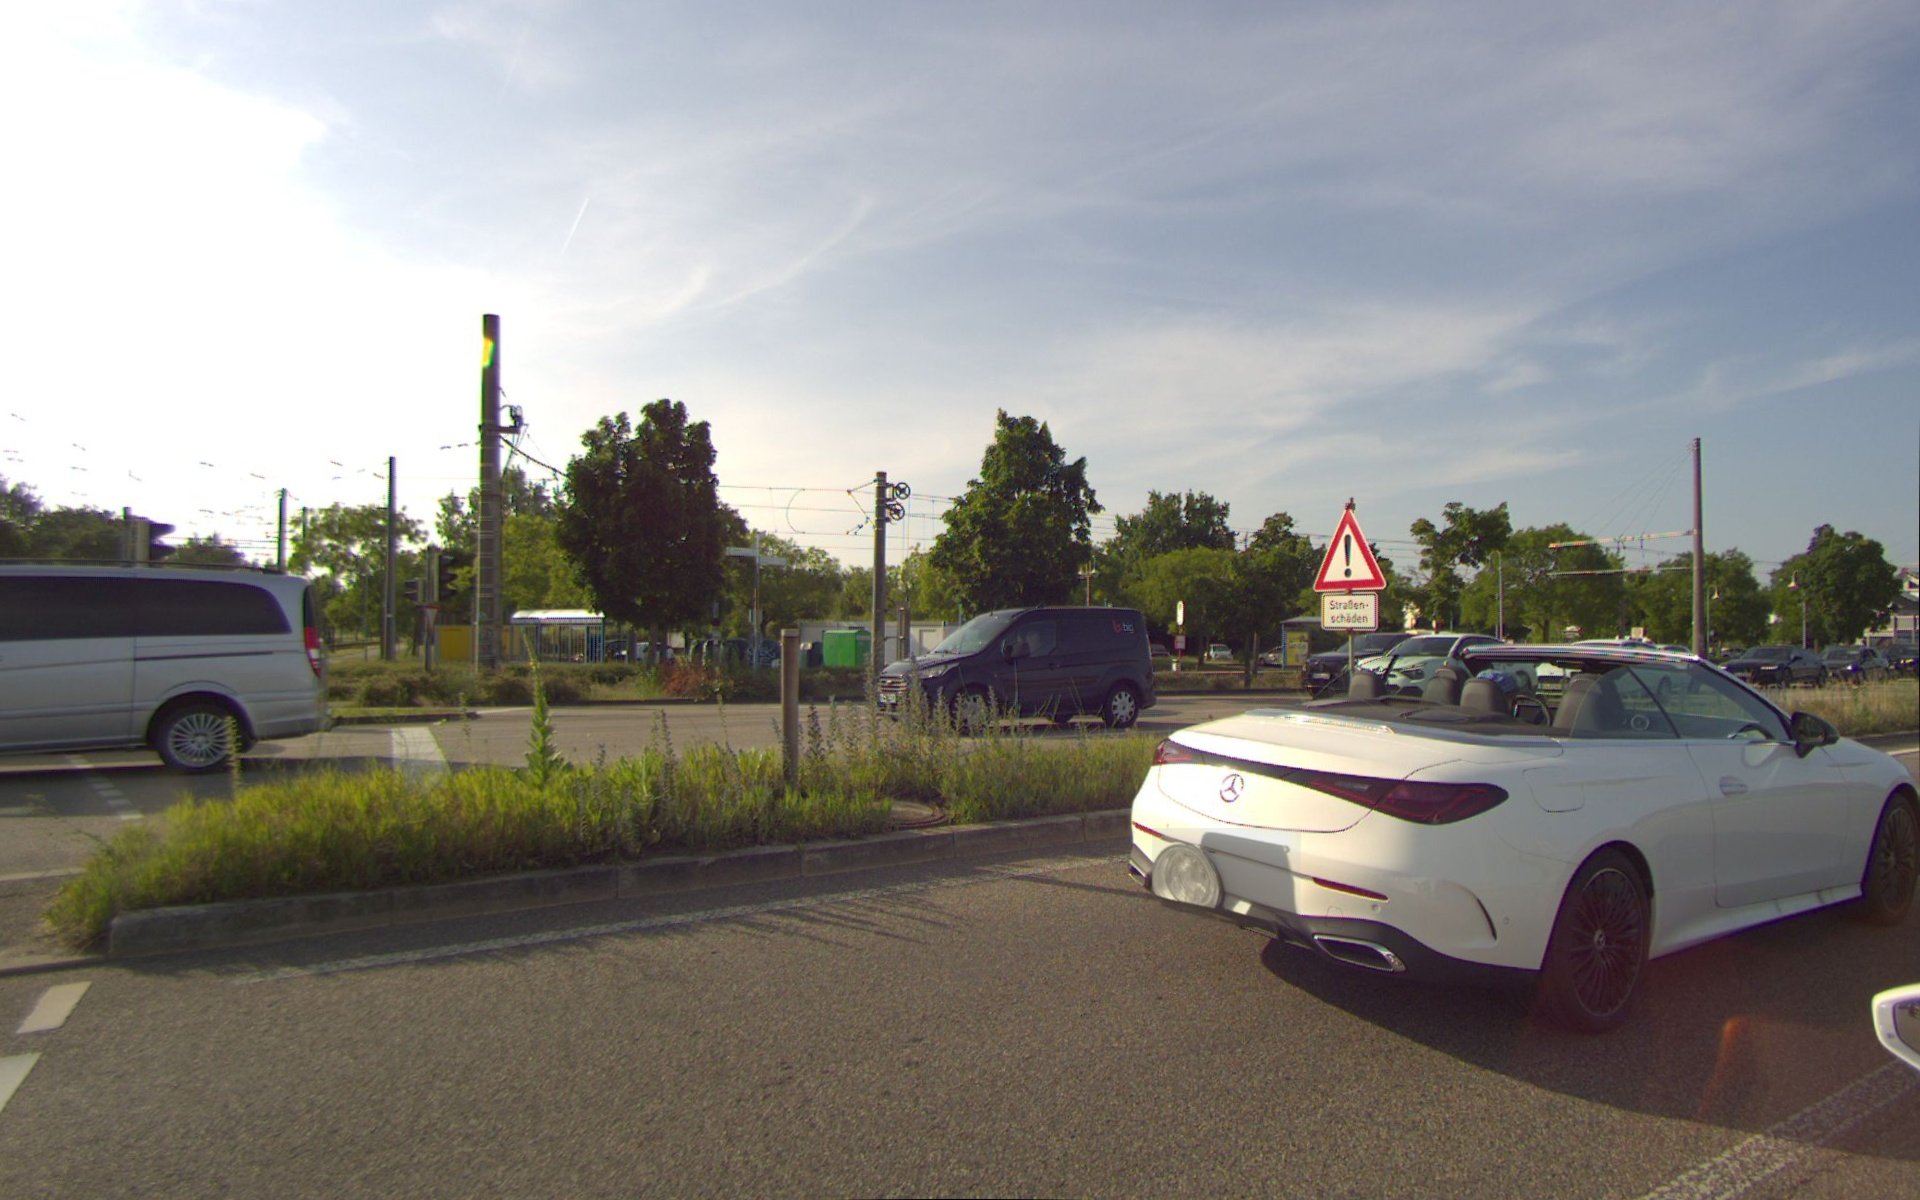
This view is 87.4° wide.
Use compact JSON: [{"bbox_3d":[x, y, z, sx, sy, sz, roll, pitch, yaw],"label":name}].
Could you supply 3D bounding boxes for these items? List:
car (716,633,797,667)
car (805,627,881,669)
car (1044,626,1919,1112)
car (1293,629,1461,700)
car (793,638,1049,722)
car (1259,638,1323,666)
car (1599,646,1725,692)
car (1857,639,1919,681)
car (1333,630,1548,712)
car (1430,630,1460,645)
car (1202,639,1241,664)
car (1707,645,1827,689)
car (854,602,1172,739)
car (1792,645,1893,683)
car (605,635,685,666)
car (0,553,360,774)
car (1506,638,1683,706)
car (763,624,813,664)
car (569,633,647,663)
[{"bbox_3d":[-10.032,2.421,49.400,3.938,1.439,1.826,2,0,39],"label":"car"},{"bbox_3d":[-5.909,2.350,50.385,3.622,1.902,1.825,2,0,42],"label":"car"},{"bbox_3d":[2.929,0.873,4.932,4.892,1.355,1.763,2,0,-30],"label":"car"},{"bbox_3d":[10.208,1.552,24.556,3.954,1.610,1.788,2,-4,-31],"label":"car"},{"bbox_3d":[-0.668,1.414,18.282,4.322,1.362,1.850,2,-4,-30],"label":"car"},{"bbox_3d":[22.254,3.483,67.619,1.971,1.684,3.979,2,0,-22],"label":"car"},{"bbox_3d":[22.660,2.186,32.374,4.417,1.399,1.652,2,-4,-31],"label":"car"},{"bbox_3d":[40.394,2.554,43.105,4.180,1.709,1.652,2,-3,-31],"label":"car"},{"bbox_3d":[9.921,1.434,20.661,4.530,1.527,1.743,2,-4,-30],"label":"car"},{"bbox_3d":[49.672,3.851,102.917,1.700,1.384,3.626,-1,-4,7],"label":"car"},{"bbox_3d":[20.092,3.913,77.394,1.960,1.684,4.000,2,0,1],"label":"car"},{"bbox_3d":[28.205,2.314,35.051,4.918,1.433,1.652,2,-4,-31],"label":"car"},{"bbox_3d":[0.838,1.017,14.944,4.476,1.768,1.850,2,-4,-30],"label":"car"},{"bbox_3d":[34.274,2.478,38.977,4.489,1.399,1.652,2,-4,-31],"label":"car"},{"bbox_3d":[-17.724,2.822,56.631,1.964,1.558,3.992,2,0,30],"label":"car"},{"bbox_3d":[-8.534,0.586,9.308,5.019,1.852,1.985,2,-4,-30],"label":"car"},{"bbox_3d":[15.167,1.686,23.977,4.244,1.489,1.810,2,-4,-30],"label":"car"},{"bbox_3d":[-9.141,2.300,53.249,1.808,1.902,3.655,2,0,-23],"label":"car"},{"bbox_3d":[-20.391,2.772,58.322,1.964,1.558,3.992,2,0,30],"label":"car"}]
